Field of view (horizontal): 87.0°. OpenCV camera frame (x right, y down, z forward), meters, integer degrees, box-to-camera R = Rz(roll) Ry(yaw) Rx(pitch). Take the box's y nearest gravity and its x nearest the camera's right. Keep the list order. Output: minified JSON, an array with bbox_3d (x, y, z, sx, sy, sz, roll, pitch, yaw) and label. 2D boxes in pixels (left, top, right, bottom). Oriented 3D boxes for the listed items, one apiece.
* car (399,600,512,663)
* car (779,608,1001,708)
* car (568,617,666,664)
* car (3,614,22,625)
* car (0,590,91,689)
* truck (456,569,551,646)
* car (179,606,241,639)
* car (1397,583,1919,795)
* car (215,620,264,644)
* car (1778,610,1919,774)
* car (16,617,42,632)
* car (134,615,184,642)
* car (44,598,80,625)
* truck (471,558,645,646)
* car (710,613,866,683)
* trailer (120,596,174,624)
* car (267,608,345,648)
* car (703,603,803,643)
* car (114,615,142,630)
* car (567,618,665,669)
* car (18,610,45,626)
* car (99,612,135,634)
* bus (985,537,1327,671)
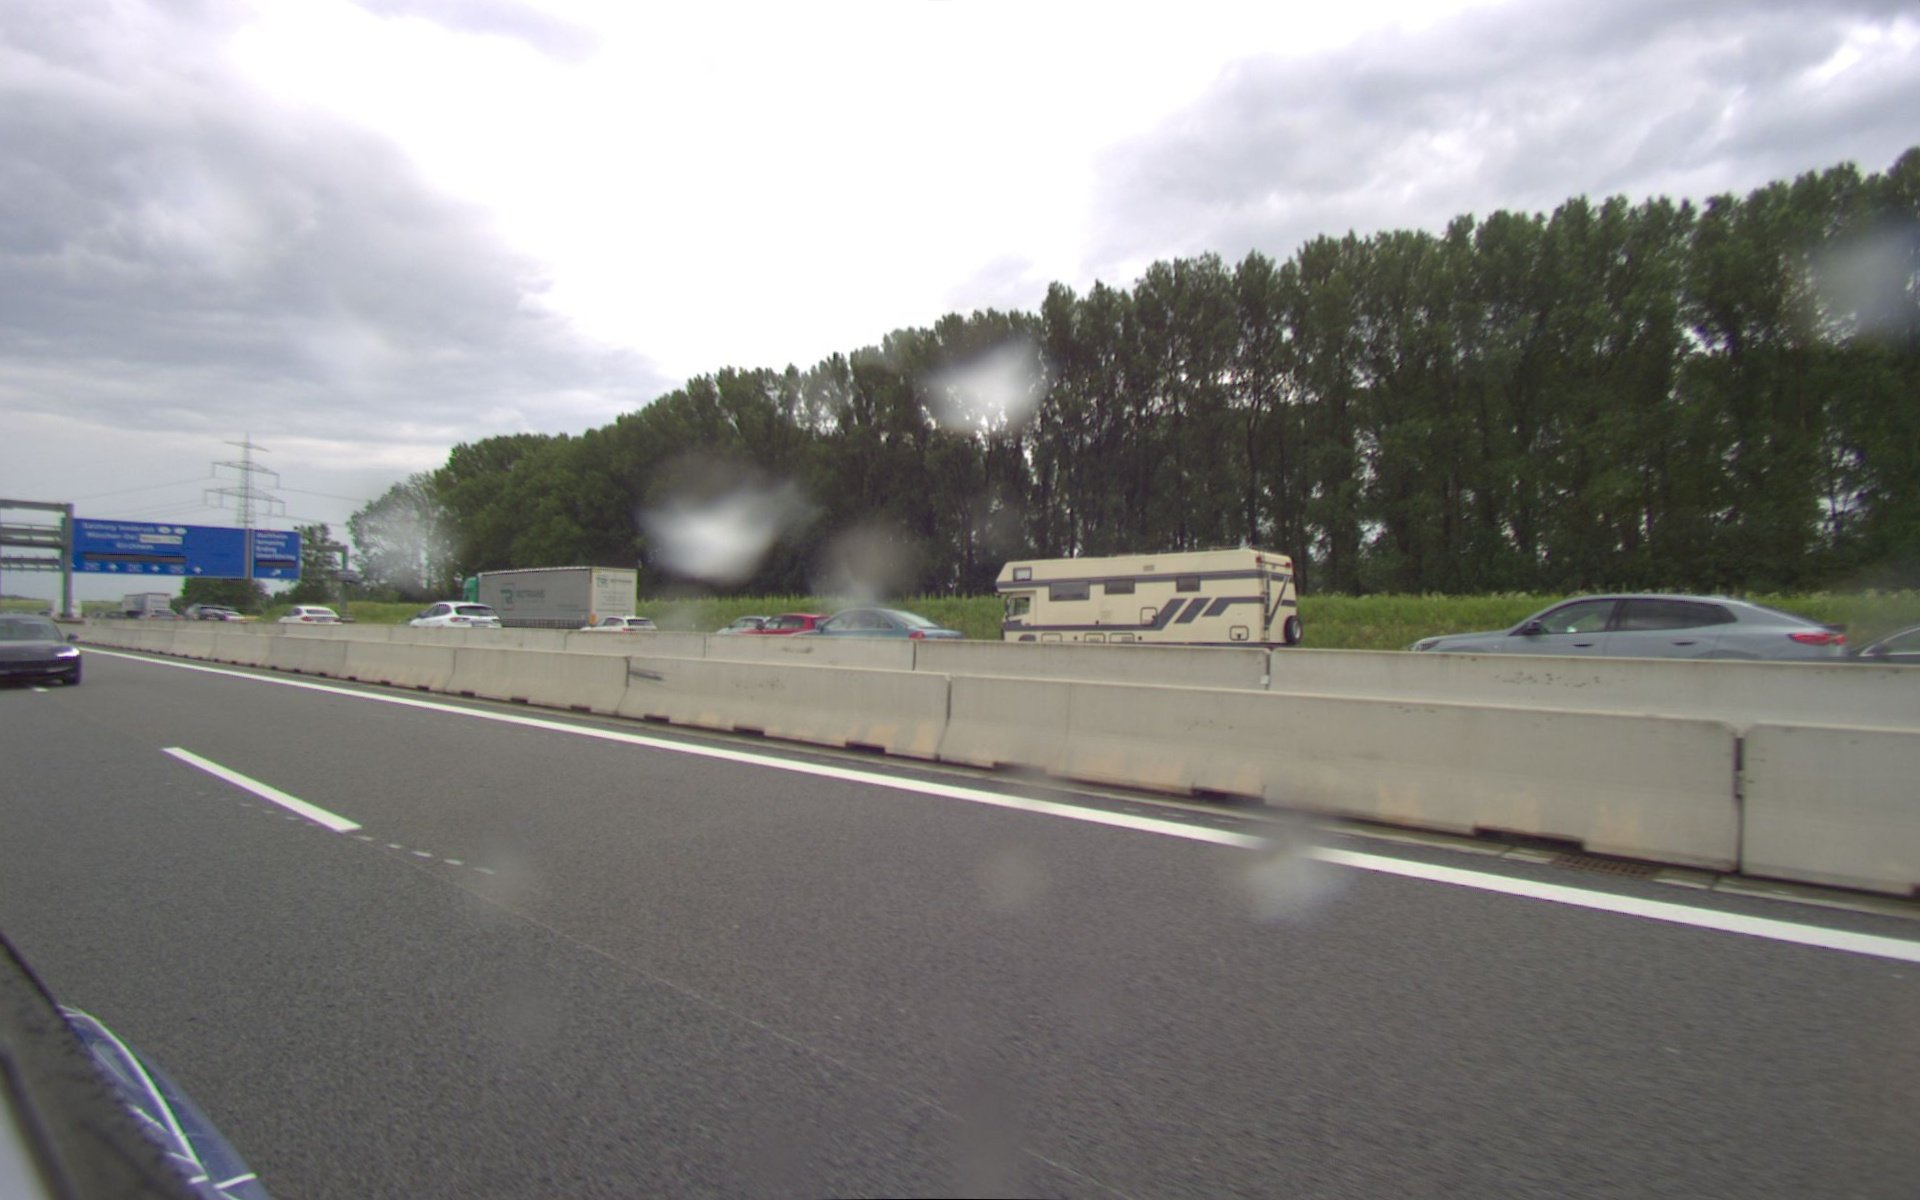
[{"bbox_3d":[-17.646,1.056,35.263,4.763,2.029,1.972,-1,-1,43],"label":"car"},{"bbox_3d":[-1.556,1.121,21.321,4.633,1.869,1.973,-1,-1,41],"label":"car"},{"bbox_3d":[-14.532,1.653,42.774,4.399,1.869,1.973,-1,-1,41],"label":"car"},{"bbox_3d":[-154.195,3.170,164.696,4.016,1.740,1.972,-1,-1,42],"label":"car"},{"bbox_3d":[-19.459,0.757,20.827,5.164,1.834,1.971,-1,-1,44],"label":"car"},{"bbox_3d":[-27.016,0.487,59.785,5.910,4.314,3.085,-1,-1,43],"label":"truck"},{"bbox_3d":[-44.521,1.311,60.035,5.185,1.912,1.972,-1,-1,42],"label":"car"},{"bbox_3d":[8.163,0.873,11.926,5.180,2.029,1.972,-1,-1,42],"label":"car"},{"bbox_3d":[-53.926,2.361,75.667,5.077,1.717,1.972,-1,-1,43],"label":"car"},{"bbox_3d":[13.029,1.151,12.867,3.999,2.029,1.786,-1,-1,42],"label":"car"},{"bbox_3d":[-113.680,2.937,123.546,4.016,1.740,1.973,-1,-1,41],"label":"car"},{"bbox_3d":[-57.729,2.025,72.910,5.184,1.900,1.973,-1,-1,41],"label":"car"},{"bbox_3d":[-90.102,1.163,101.542,6.340,2.636,1.973,-1,-1,41],"label":"car"},{"bbox_3d":[-22.348,0.171,55.511,13.949,4.345,3.114,-1,-1,42],"label":"truck"},{"bbox_3d":[-5.006,1.306,29.078,4.637,1.842,1.972,-1,-1,42],"label":"car"},{"bbox_3d":[-106.499,1.344,132.436,14.446,3.534,3.077,-1,-1,41],"label":"trailer"},{"bbox_3d":[-31.790,1.349,49.111,5.077,1.867,1.972,-1,-1,43],"label":"car"},{"bbox_3d":[-8.962,0.964,43.655,4.399,1.630,1.973,-1,-1,41],"label":"car"},{"bbox_3d":[-98.249,2.613,119.534,3.999,1.719,1.972,-1,-1,42],"label":"car"},{"bbox_3d":[-14.630,1.793,42.942,4.637,2.029,1.972,-1,-1,42],"label":"car"},{"bbox_3d":[-102.186,1.962,111.347,3.999,1.670,1.849,-1,-1,42],"label":"car"},{"bbox_3d":[-71.659,1.960,86.029,4.427,1.807,1.687,-1,-1,41],"label":"car"},{"bbox_3d":[5.370,0.160,29.806,9.964,3.358,2.800,-1,-1,43],"label":"bus"}]
